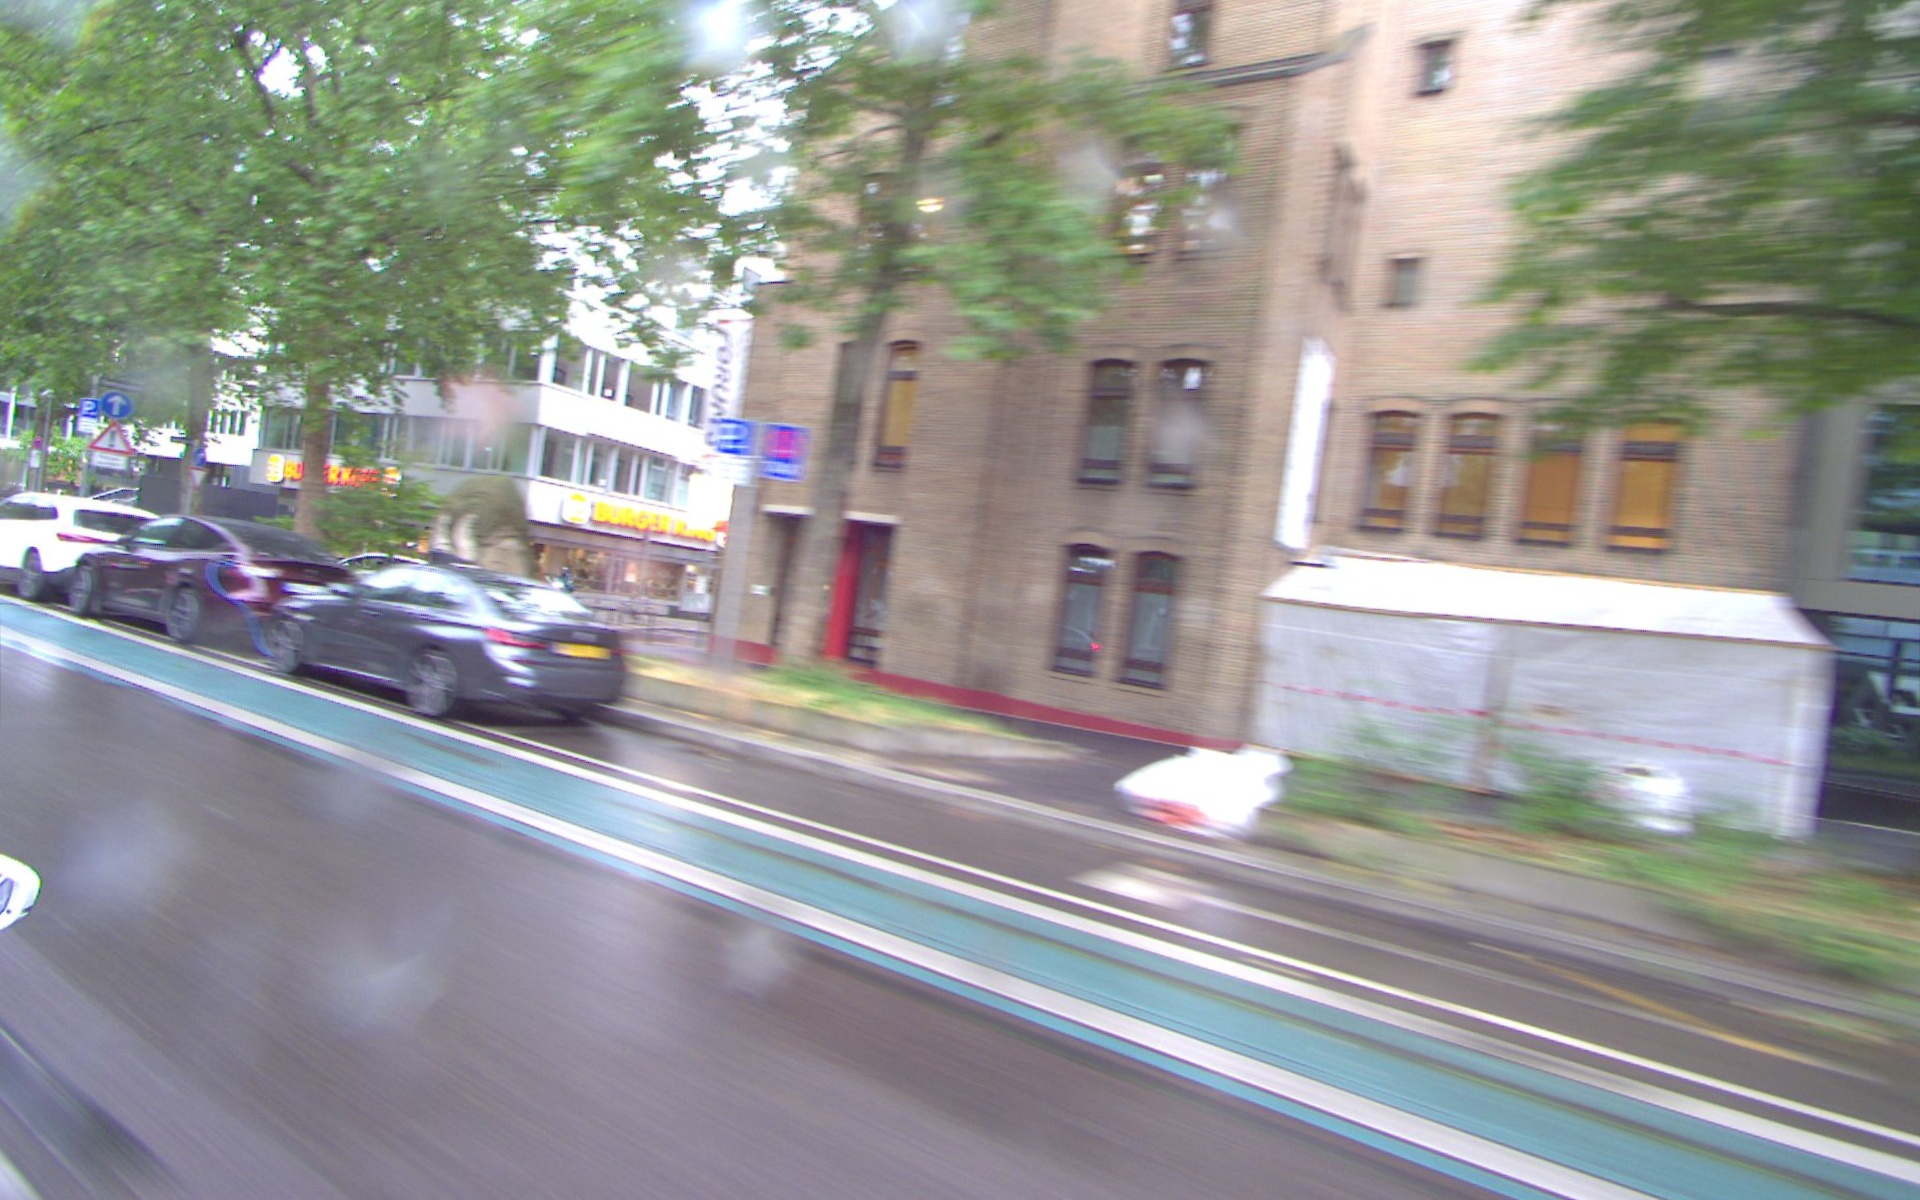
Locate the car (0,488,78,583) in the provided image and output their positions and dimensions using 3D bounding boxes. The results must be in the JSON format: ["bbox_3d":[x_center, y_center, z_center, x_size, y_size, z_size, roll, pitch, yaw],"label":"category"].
[{"bbox_3d":[-18.395,-1.363,18.627,3.954,1.540,1.700,7,-2,28],"label":"car"}]

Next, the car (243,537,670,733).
[{"bbox_3d":[-5.516,0.335,10.870,4.534,1.437,1.877,7,-2,31],"label":"car"}]

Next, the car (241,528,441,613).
[{"bbox_3d":[-16.767,-0.772,27.361,4.233,1.584,2.031,10,-3,-42],"label":"car"}]

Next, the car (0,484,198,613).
[{"bbox_3d":[-14.331,-0.885,16.067,4.002,1.589,1.733,7,-2,27],"label":"car"}]

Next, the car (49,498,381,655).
[{"bbox_3d":[-10.270,-0.343,13.801,4.481,1.537,1.872,7,-3,30],"label":"car"}]

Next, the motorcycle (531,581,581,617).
[{"bbox_3d":[-13.903,-0.016,34.638,0.610,1.041,1.430,7,-3,29],"label":"motorcycle"}]
